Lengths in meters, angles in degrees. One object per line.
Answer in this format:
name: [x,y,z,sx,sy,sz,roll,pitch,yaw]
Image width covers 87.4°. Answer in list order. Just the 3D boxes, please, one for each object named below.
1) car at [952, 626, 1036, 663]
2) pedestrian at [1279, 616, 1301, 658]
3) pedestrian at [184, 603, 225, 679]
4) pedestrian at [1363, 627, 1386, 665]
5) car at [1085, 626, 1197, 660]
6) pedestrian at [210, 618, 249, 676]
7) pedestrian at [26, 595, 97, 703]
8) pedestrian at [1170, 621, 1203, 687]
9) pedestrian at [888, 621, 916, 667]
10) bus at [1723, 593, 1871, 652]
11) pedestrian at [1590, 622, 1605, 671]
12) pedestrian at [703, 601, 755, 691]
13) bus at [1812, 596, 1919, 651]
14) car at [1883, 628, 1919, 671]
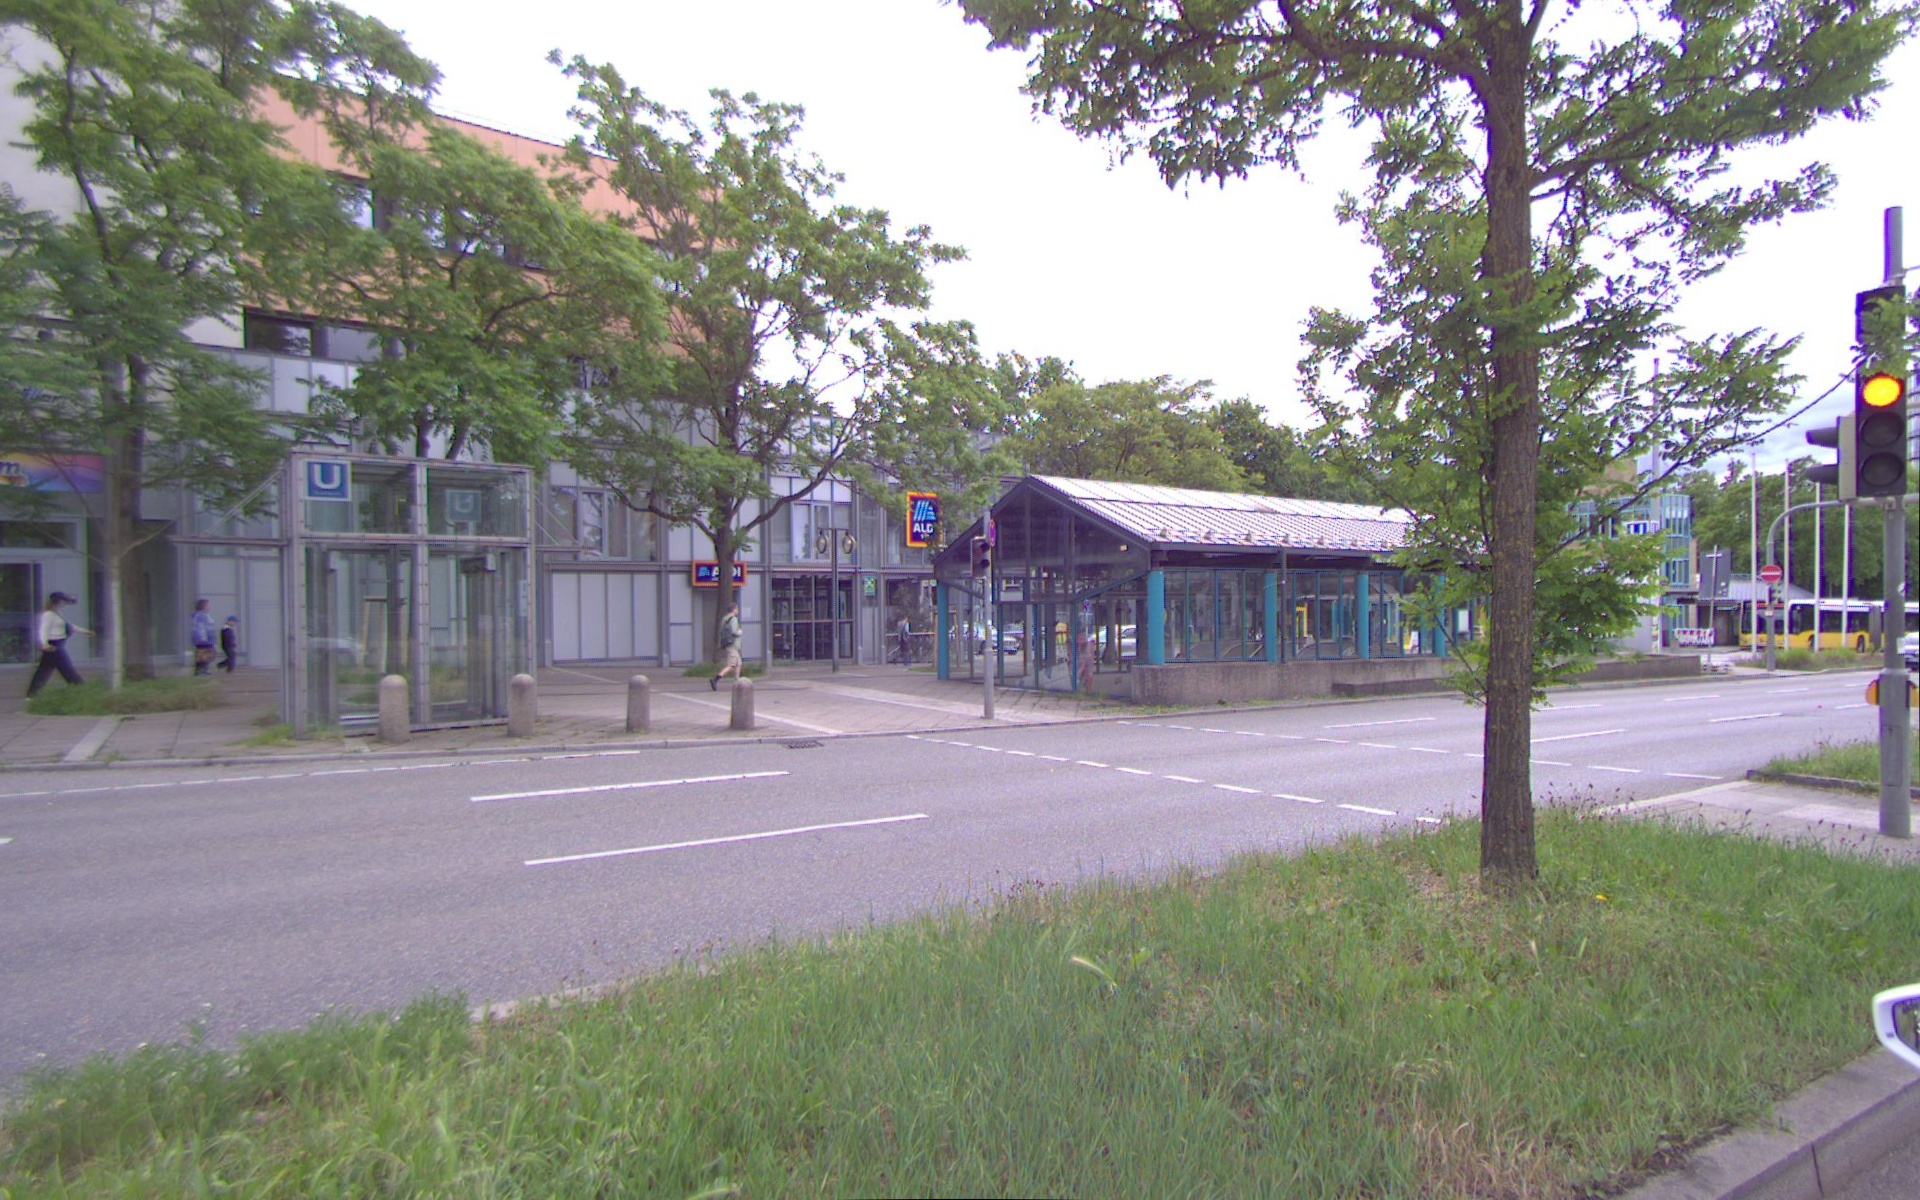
car: [1.654,2.195,50.385,1.769,1.710,4.838,1,-1,-33]
pedestrian: [13.240,1.473,40.325,0.703,1.677,0.517,1,0,-37]
pedestrian: [-15.406,0.829,20.481,0.617,1.523,0.562,1,-1,-40]
pedestrian: [17.837,1.985,43.213,0.653,1.591,0.632,2,0,-26]
car: [6.676,1.562,37.012,3.959,1.184,1.812,1,-2,-34]
pedestrian: [-15.526,0.993,21.347,0.617,1.197,0.417,1,-1,-40]
pedestrian: [-14.333,0.765,16.043,0.714,1.672,0.672,1,0,-34]
pedestrian: [6.182,1.459,27.431,0.748,1.786,0.525,1,-1,-36]
pedestrian: [-1.920,1.446,33.108,0.748,1.499,0.525,1,-1,-36]
bus: [49.928,1.383,59.828,10.036,3.293,2.980,1,-1,-26]
pedestrian: [21.019,1.525,33.117,0.412,1.612,0.356,0,-1,31]
pedestrian: [-4.891,0.969,21.243,0.530,1.857,0.916,0,-1,44]
bus: [57.925,1.544,63.768,7.771,3.313,2.980,1,-1,-26]
car: [37.551,1.915,39.169,3.316,1.599,1.673,1,-1,-36]
